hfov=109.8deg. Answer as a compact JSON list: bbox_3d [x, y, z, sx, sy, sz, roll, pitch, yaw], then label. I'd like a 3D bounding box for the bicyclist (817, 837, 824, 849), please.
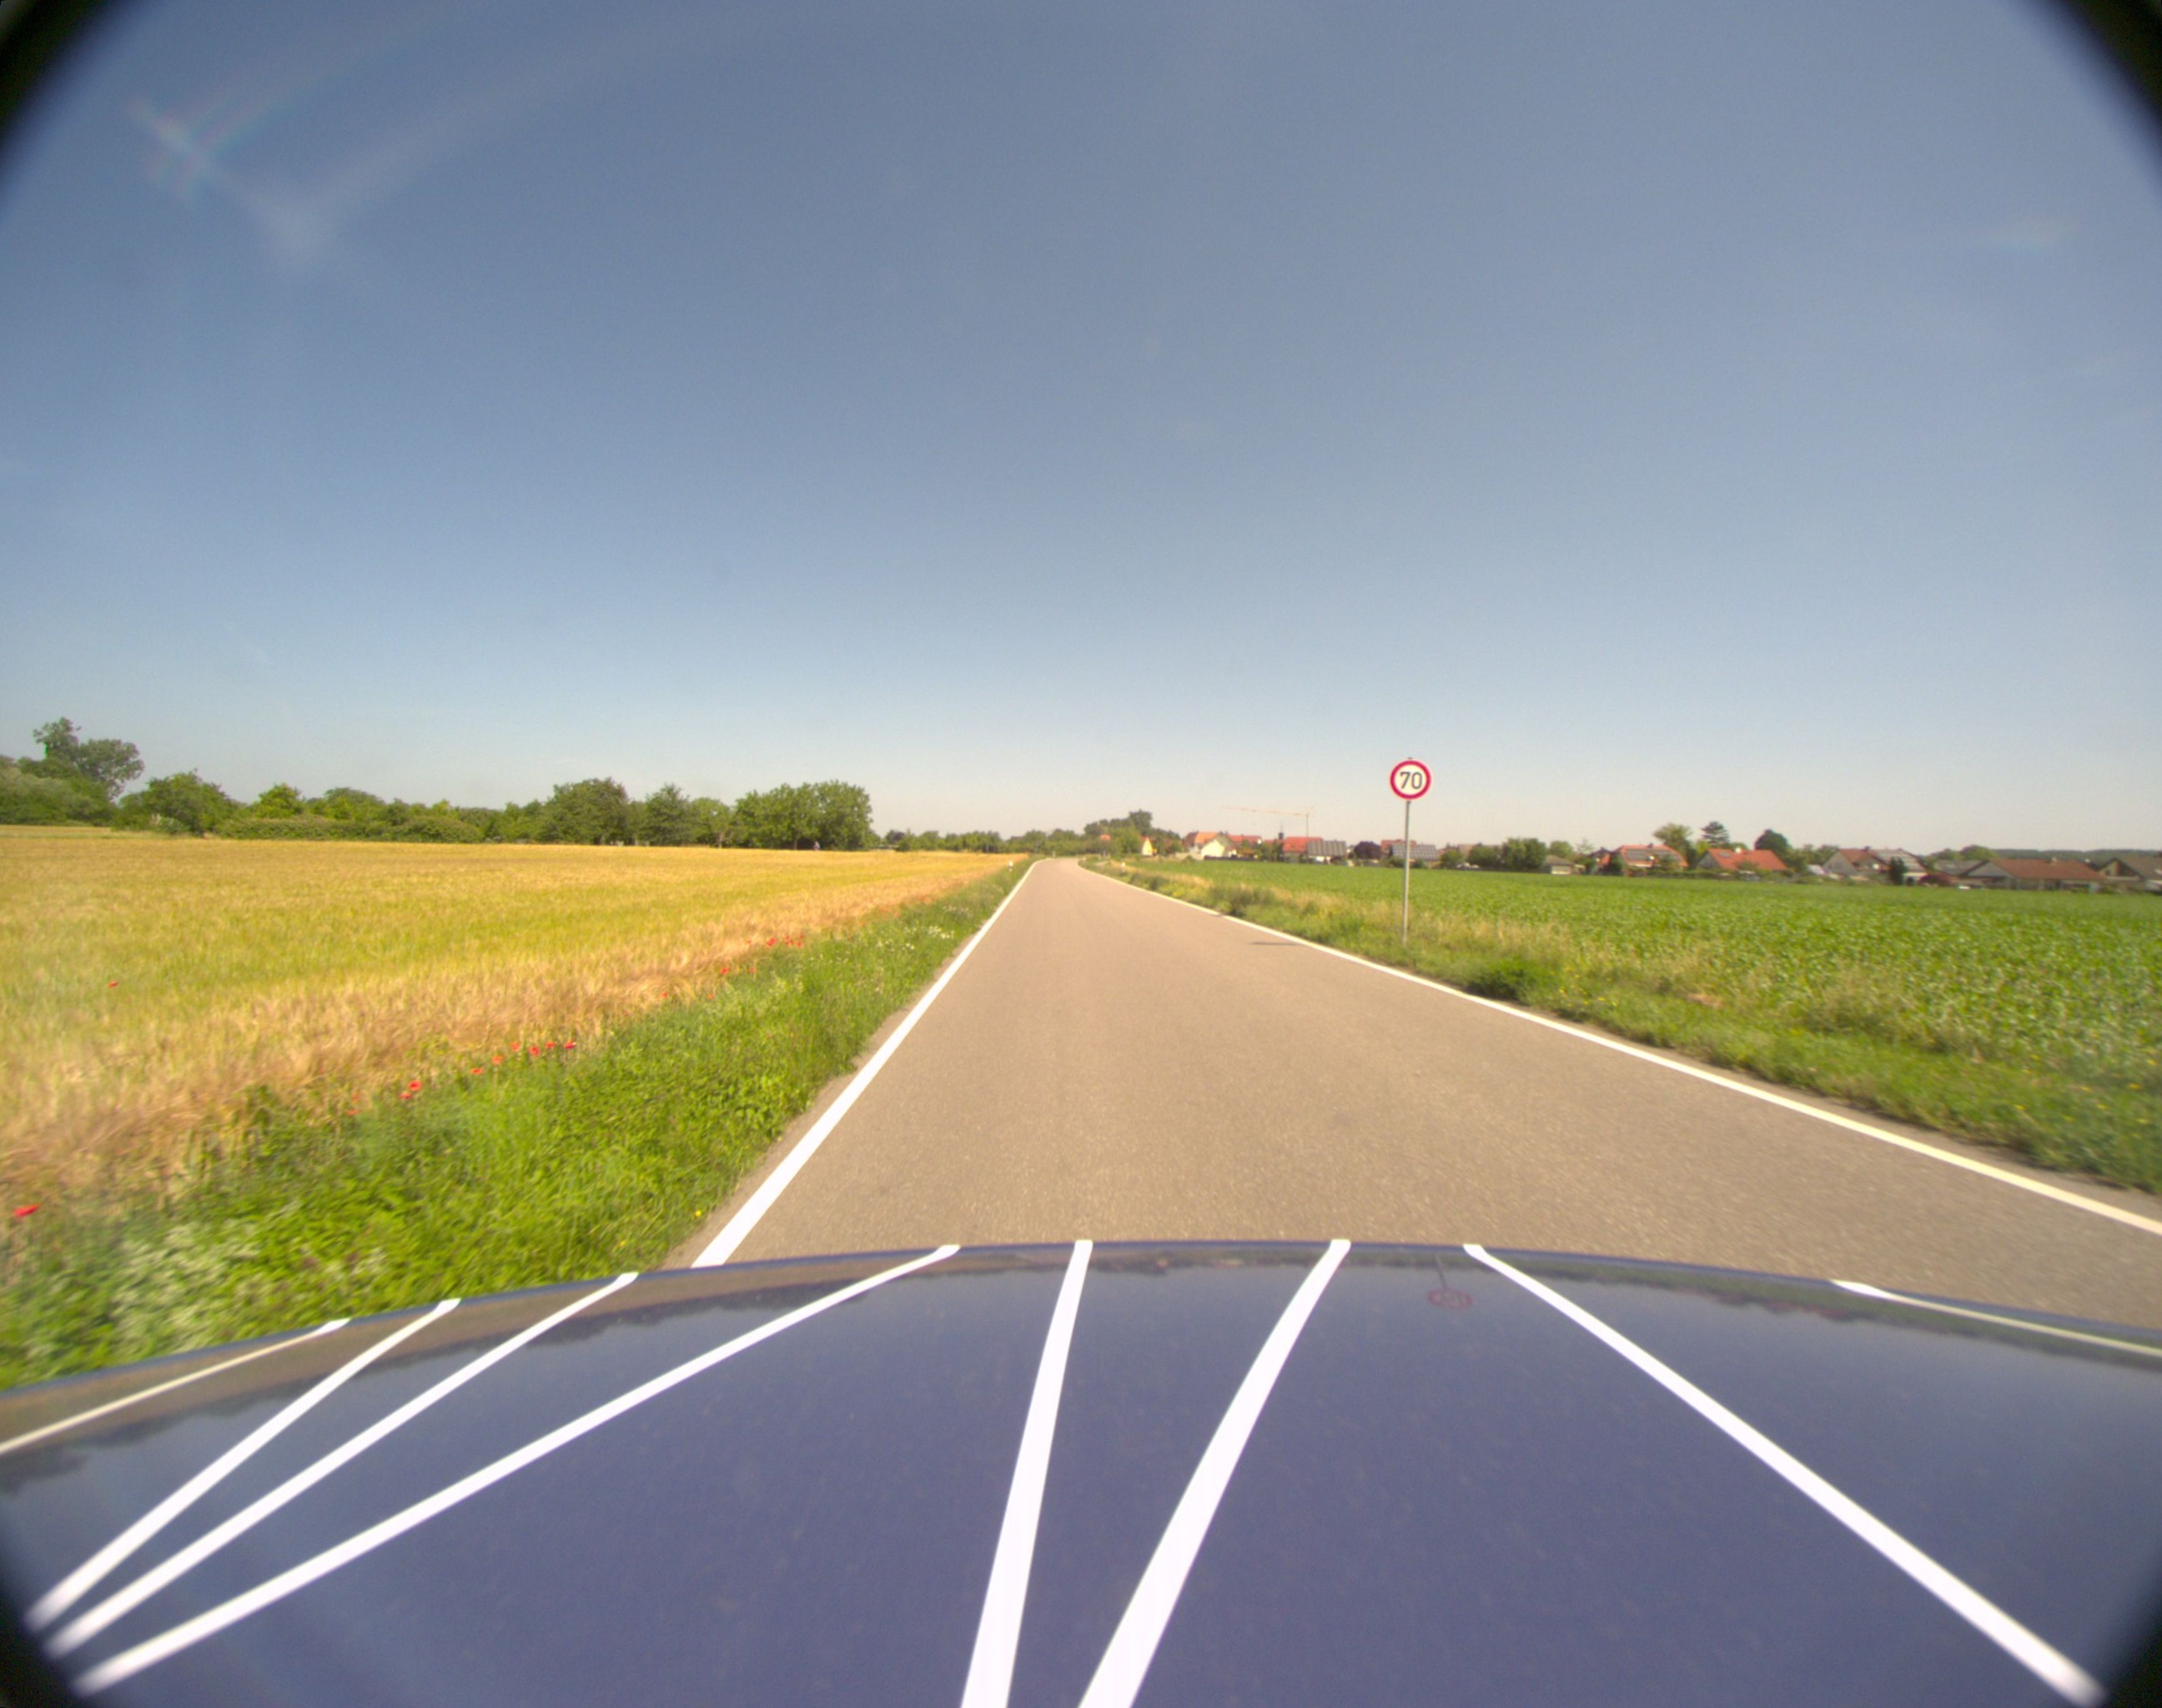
[{"bbox_3d":[-35.536,-1.499,103.587,0.737,1.565,0.672,1,2,-37],"label":"bicyclist"}]

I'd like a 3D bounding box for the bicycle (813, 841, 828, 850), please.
[{"bbox_3d":[-35.549,-1.143,103.594,1.773,1.109,0.520,1,1,-37],"label":"bicycle"}]
